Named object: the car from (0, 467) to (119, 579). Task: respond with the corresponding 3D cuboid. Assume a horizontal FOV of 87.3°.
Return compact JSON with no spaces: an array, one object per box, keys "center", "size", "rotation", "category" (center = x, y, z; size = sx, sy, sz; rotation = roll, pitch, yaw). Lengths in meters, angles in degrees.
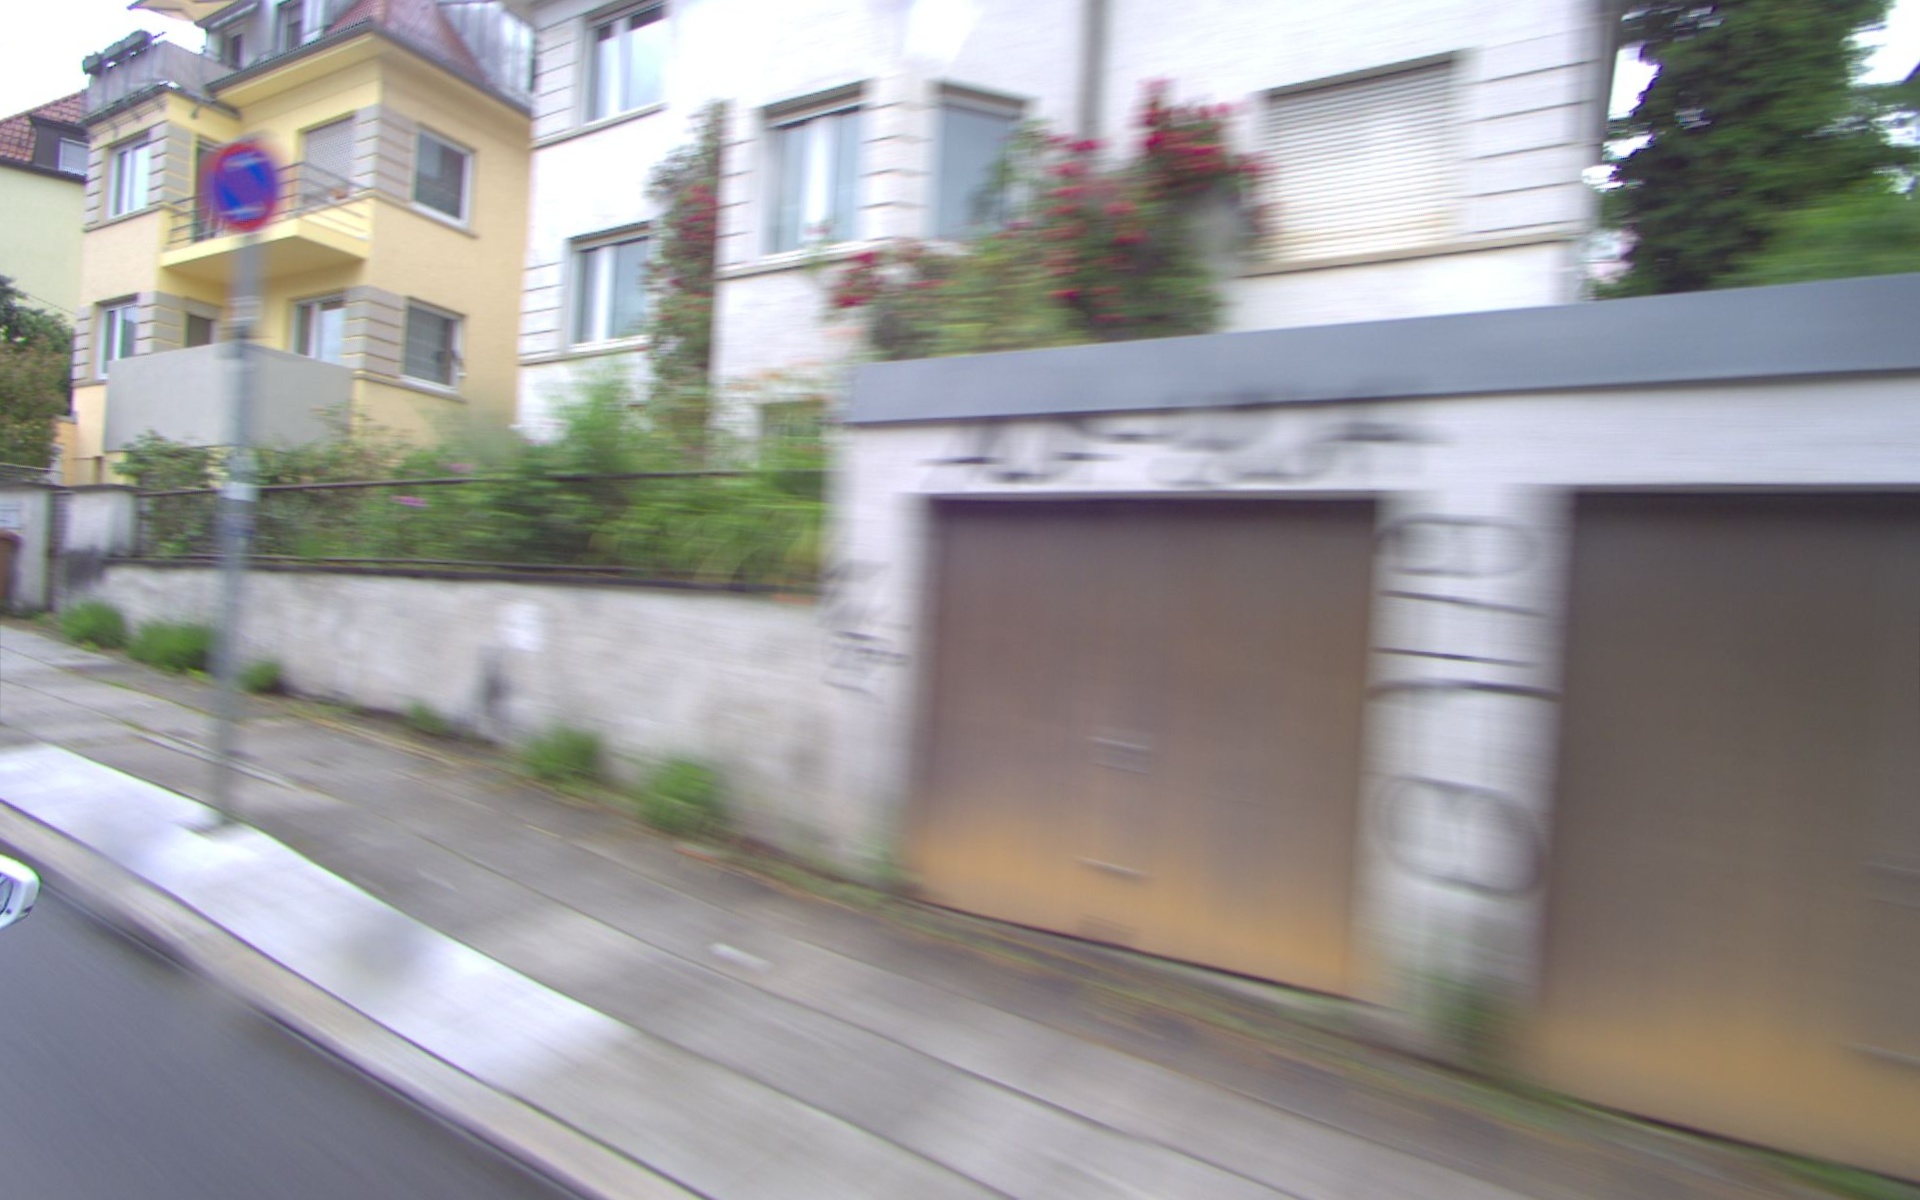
[{"center":[-14.795,-1.272,14.300],"size":[1.711,1.485,3.986],"rotation":[9,2,34],"category":"car"}]
